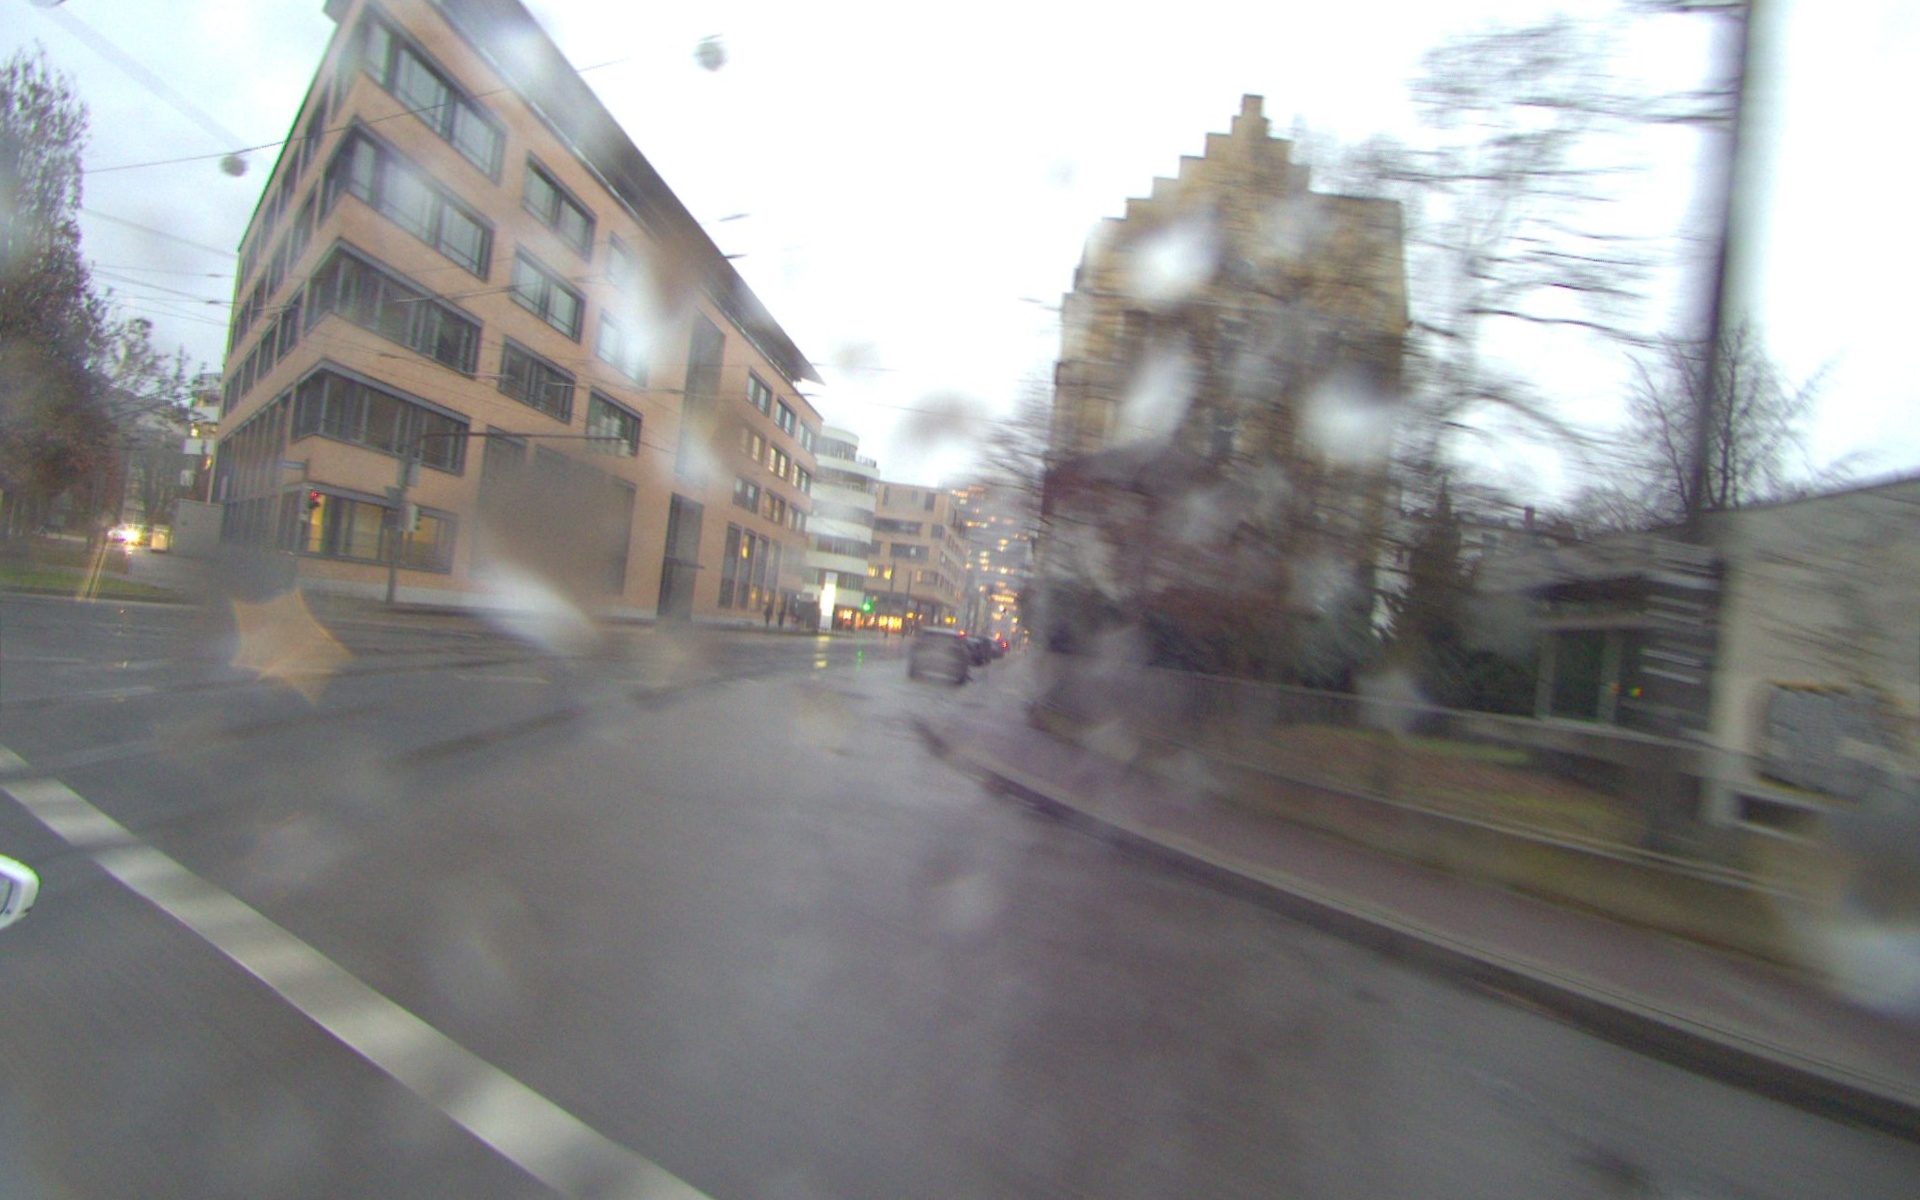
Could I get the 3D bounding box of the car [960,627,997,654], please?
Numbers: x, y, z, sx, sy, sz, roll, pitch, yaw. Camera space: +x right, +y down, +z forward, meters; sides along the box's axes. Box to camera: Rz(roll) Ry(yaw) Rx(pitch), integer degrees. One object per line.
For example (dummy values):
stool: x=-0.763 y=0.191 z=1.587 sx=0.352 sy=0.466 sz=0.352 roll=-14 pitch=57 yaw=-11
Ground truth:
car: x=1.239 y=2.579 z=64.516 sx=1.962 sy=1.457 sz=4.516 roll=7 pitch=-1 yaw=5

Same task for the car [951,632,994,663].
car: x=0.758 y=2.699 z=57.743 sx=1.962 sy=1.457 sz=4.516 roll=7 pitch=-1 yaw=5

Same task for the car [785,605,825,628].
car: x=-11.749 y=1.252 z=76.440 sx=1.962 sy=1.457 sz=3.929 roll=7 pitch=-1 yaw=5

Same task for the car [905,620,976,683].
car: x=-0.568 y=1.633 z=32.933 sx=1.963 sy=1.689 sz=4.514 roll=7 pitch=-1 yaw=1

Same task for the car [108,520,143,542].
car: x=-55.872 y=-4.655 z=67.356 sx=1.661 sy=1.194 sz=3.667 roll=8 pitch=-2 yaw=-40

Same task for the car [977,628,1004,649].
car: x=2.608 y=3.246 z=85.160 sx=1.962 sy=1.457 sz=4.516 roll=7 pitch=-1 yaw=5
